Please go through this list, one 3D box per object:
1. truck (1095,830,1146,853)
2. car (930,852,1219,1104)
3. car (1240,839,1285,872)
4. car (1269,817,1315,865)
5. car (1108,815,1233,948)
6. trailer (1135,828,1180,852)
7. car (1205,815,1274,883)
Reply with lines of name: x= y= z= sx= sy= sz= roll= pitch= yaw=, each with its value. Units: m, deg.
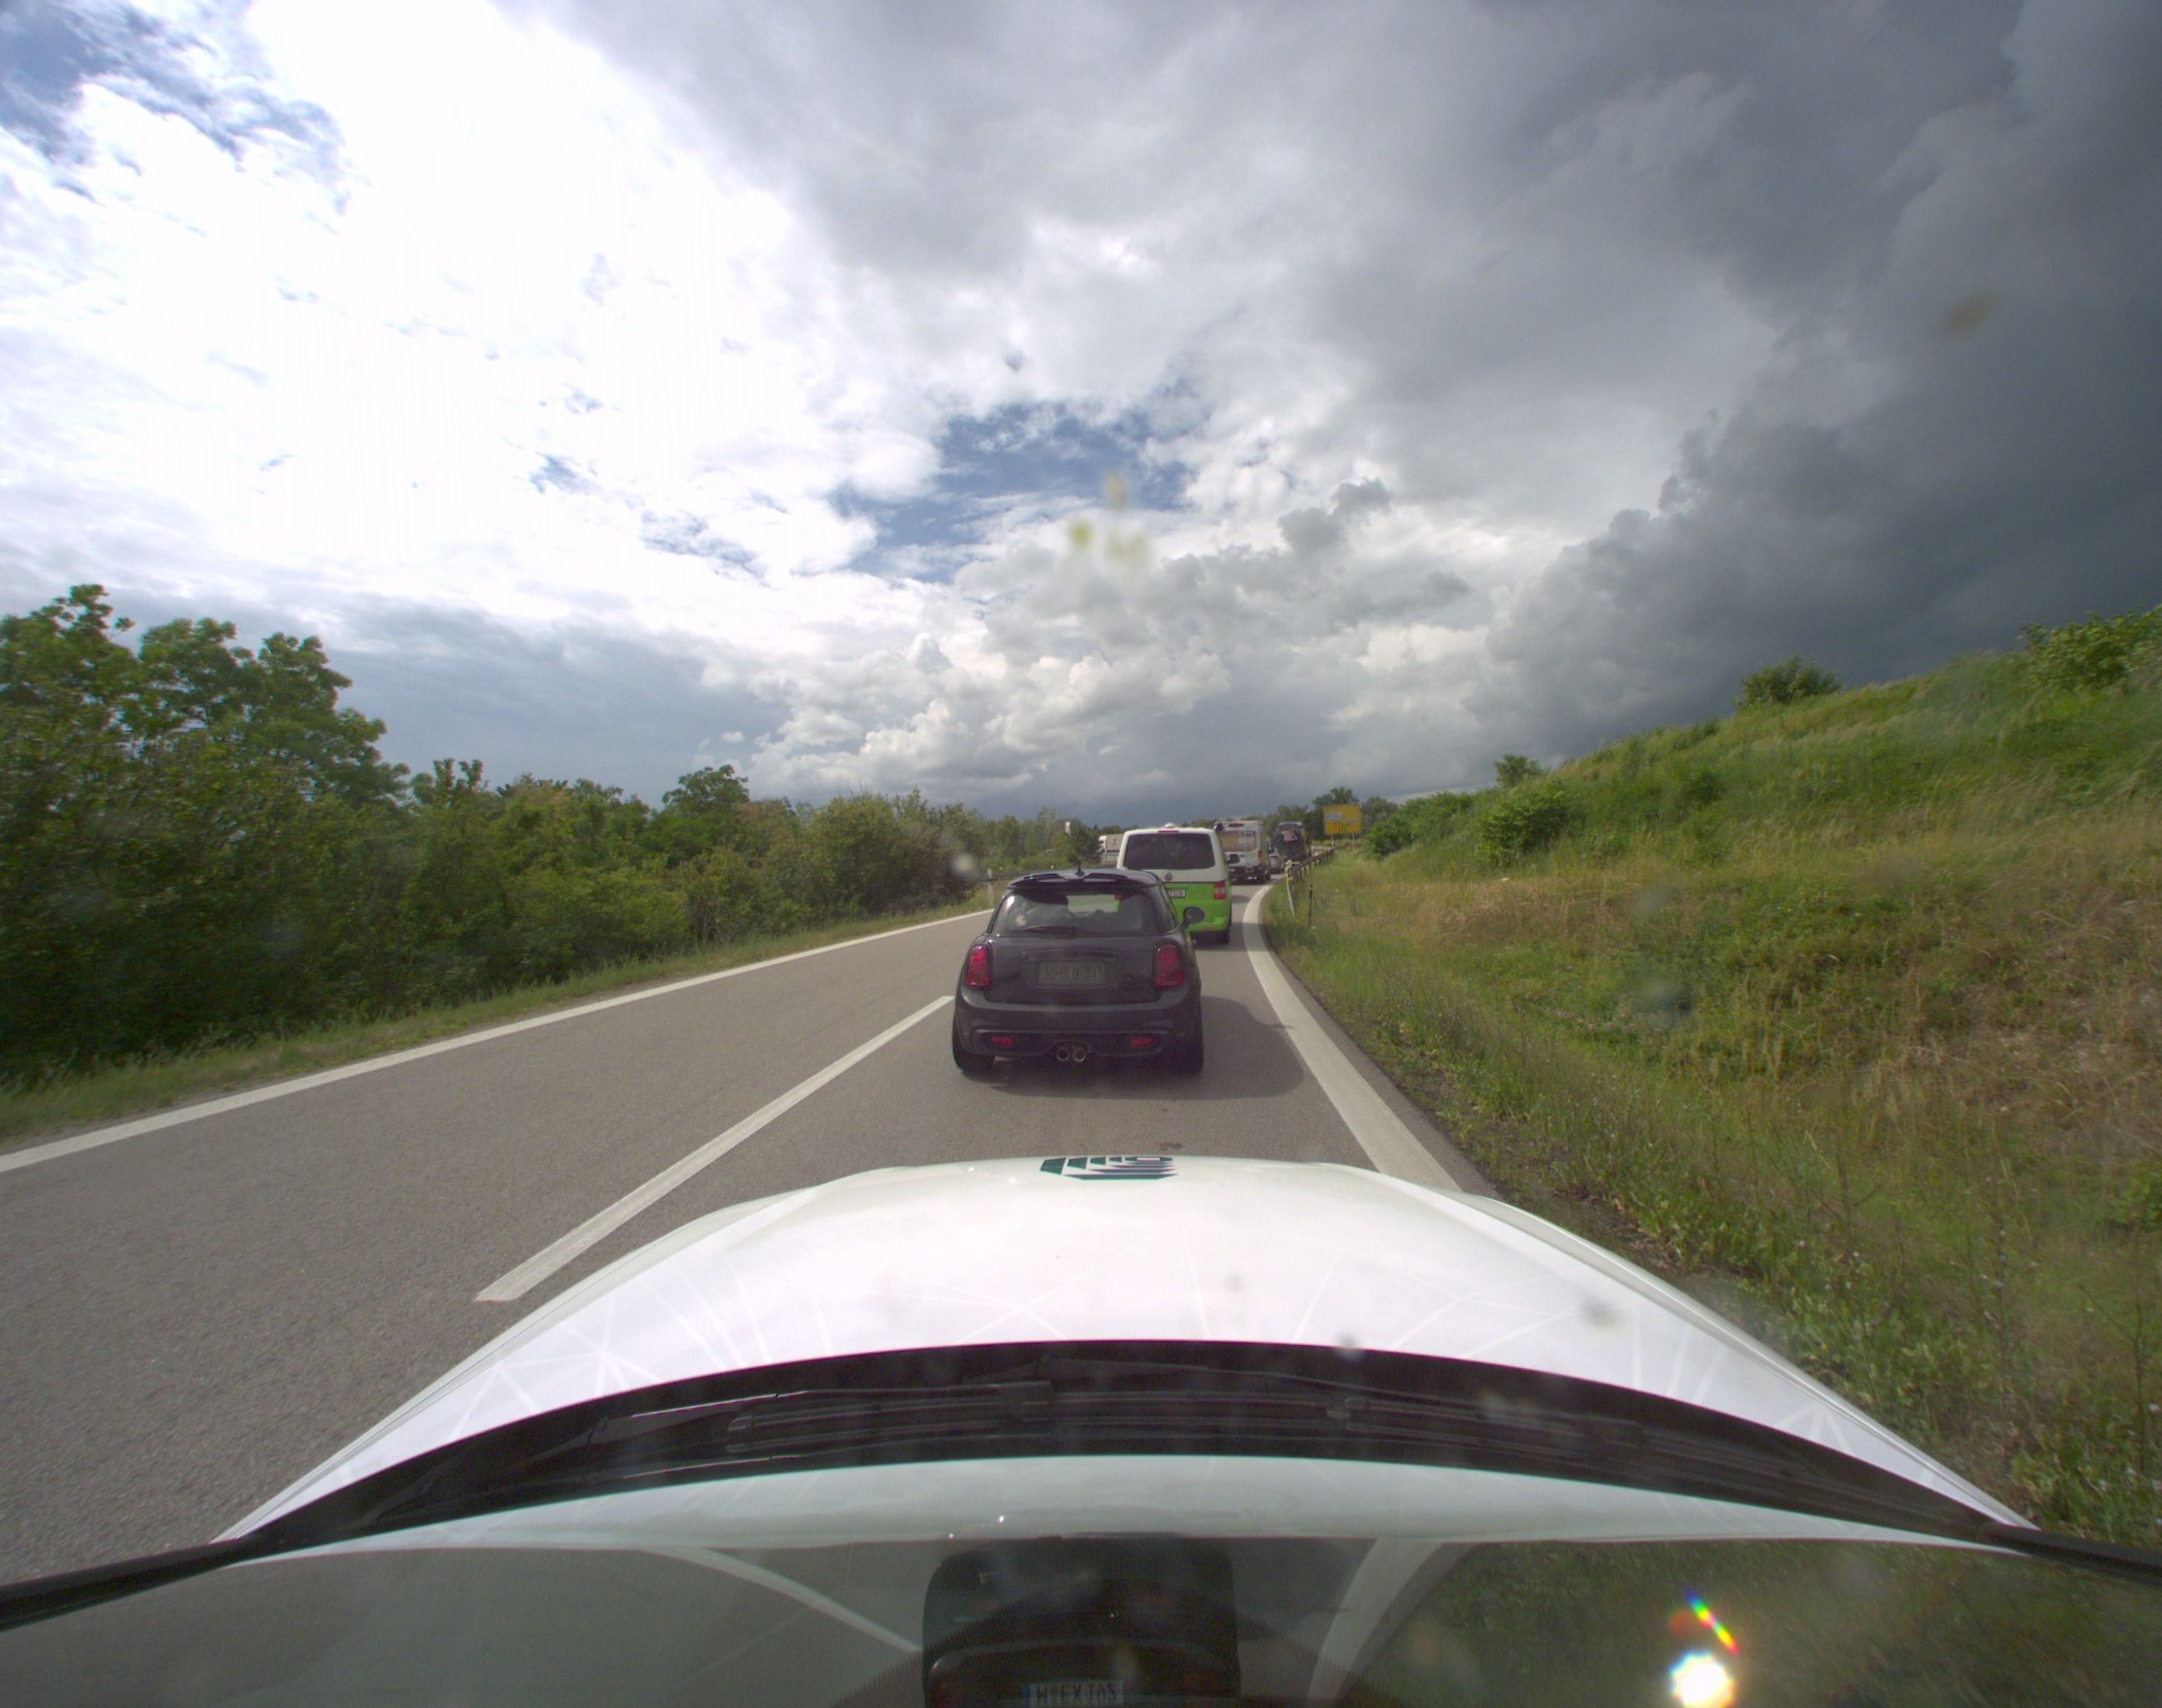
truck: x=7.104 y=-2.266 z=147.844 sx=2.861 sy=3.976 sz=9.907 roll=0 pitch=-1 yaw=-43
car: x=0.142 y=0.771 z=6.947 sx=1.790 sy=1.546 sz=3.745 roll=-1 pitch=0 yaw=6
car: x=9.751 y=0.104 z=43.491 sx=1.978 sy=1.642 sz=3.946 roll=-1 pitch=-1 yaw=17
car: x=14.392 y=-0.791 z=55.245 sx=2.291 sy=3.069 sz=6.696 roll=-1 pitch=-1 yaw=21
car: x=1.759 y=0.438 z=14.685 sx=1.899 sy=2.045 sz=4.193 roll=-1 pitch=0 yaw=10
trailer: x=13.121 y=-2.353 z=140.568 sx=3.057 sy=3.898 sz=8.681 roll=0 pitch=-1 yaw=-33
car: x=6.788 y=-0.179 z=34.408 sx=2.194 sy=2.622 sz=5.559 roll=-1 pitch=-1 yaw=18
